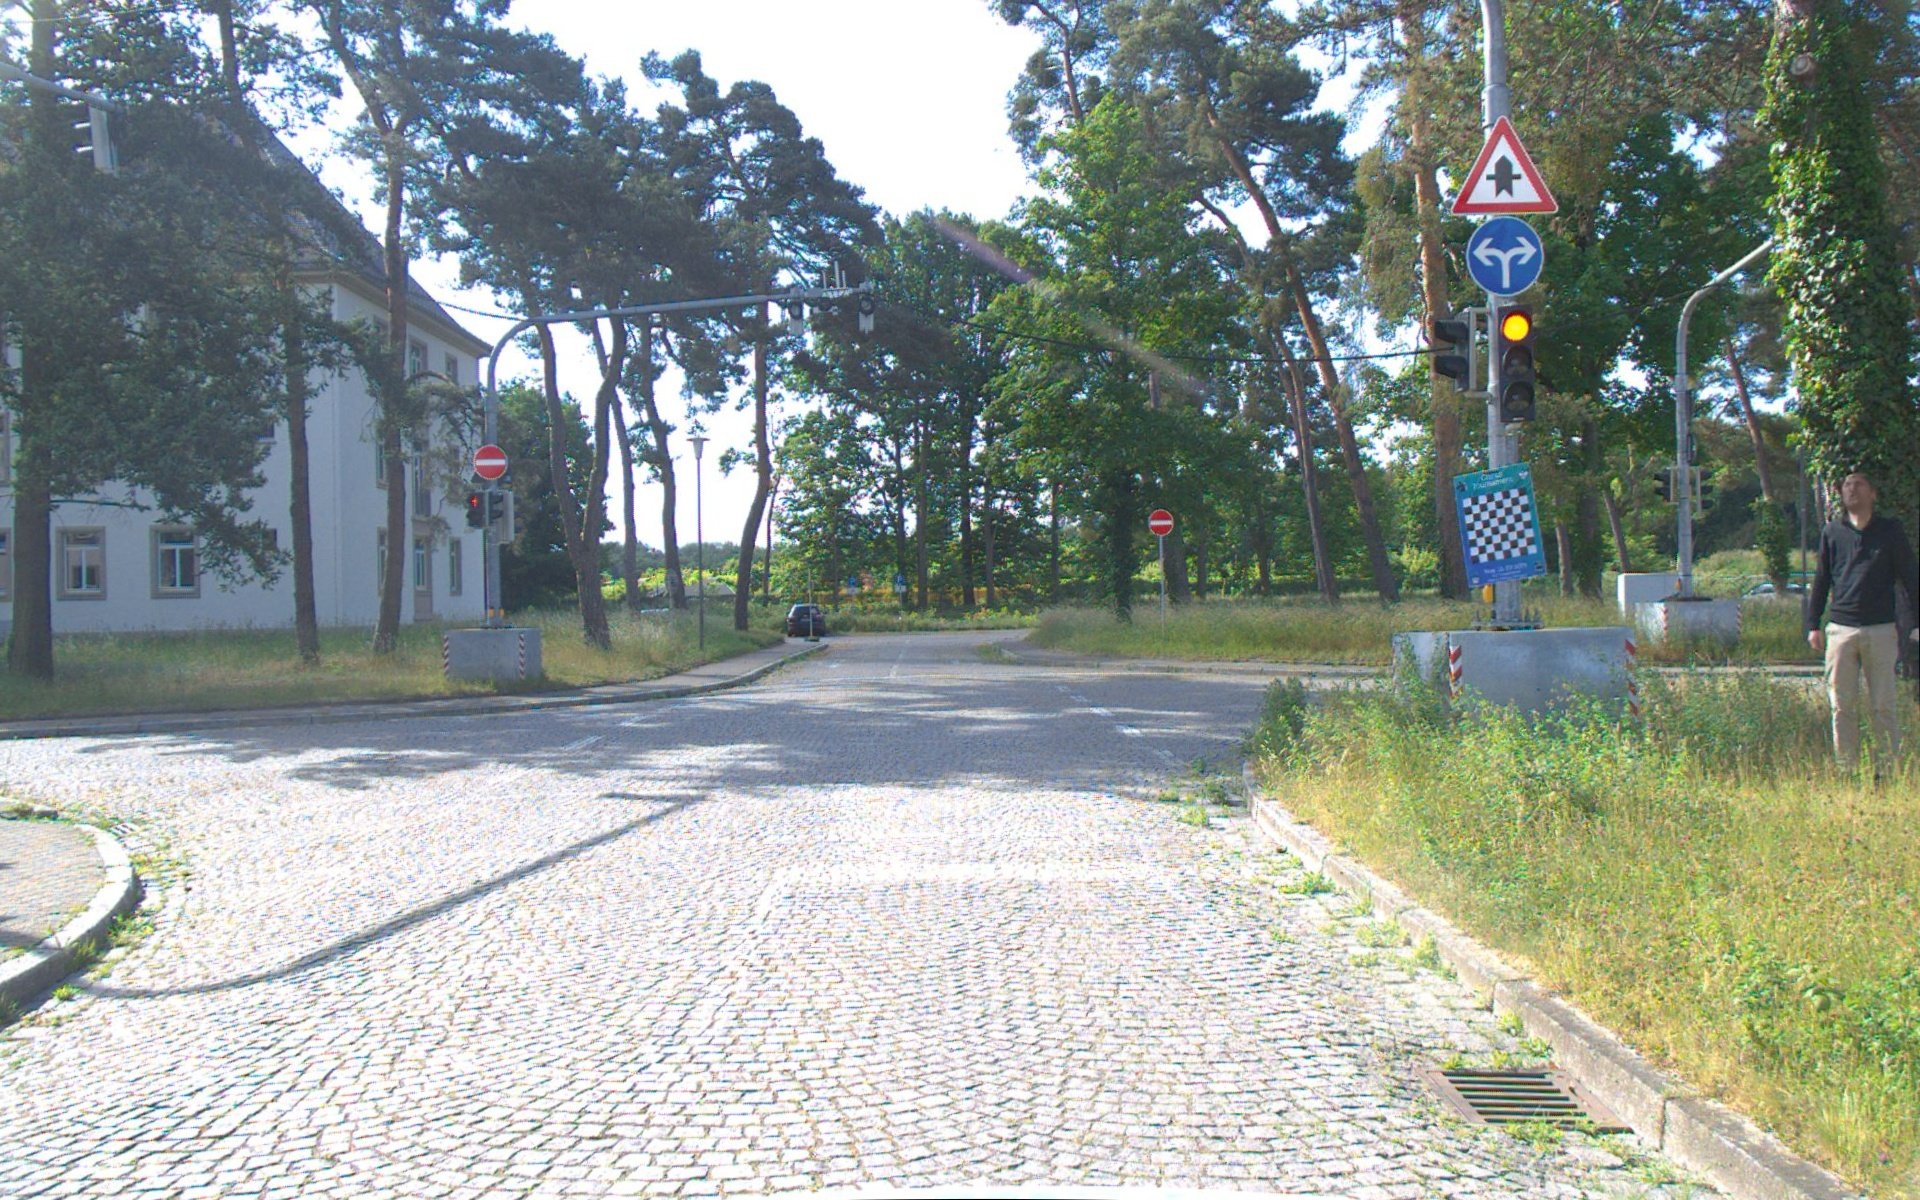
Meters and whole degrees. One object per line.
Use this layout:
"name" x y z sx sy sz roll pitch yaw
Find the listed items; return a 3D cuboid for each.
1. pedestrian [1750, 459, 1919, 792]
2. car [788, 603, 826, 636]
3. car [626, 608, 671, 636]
"pedestrian" 5.353 0.135 9.638 1.148 1.827 1.059 -2 0 36
"car" -7.416 0.914 80.298 1.676 1.522 3.916 -2 0 -4
"car" -15.206 1.056 80.825 1.676 1.296 3.916 -2 0 -4
